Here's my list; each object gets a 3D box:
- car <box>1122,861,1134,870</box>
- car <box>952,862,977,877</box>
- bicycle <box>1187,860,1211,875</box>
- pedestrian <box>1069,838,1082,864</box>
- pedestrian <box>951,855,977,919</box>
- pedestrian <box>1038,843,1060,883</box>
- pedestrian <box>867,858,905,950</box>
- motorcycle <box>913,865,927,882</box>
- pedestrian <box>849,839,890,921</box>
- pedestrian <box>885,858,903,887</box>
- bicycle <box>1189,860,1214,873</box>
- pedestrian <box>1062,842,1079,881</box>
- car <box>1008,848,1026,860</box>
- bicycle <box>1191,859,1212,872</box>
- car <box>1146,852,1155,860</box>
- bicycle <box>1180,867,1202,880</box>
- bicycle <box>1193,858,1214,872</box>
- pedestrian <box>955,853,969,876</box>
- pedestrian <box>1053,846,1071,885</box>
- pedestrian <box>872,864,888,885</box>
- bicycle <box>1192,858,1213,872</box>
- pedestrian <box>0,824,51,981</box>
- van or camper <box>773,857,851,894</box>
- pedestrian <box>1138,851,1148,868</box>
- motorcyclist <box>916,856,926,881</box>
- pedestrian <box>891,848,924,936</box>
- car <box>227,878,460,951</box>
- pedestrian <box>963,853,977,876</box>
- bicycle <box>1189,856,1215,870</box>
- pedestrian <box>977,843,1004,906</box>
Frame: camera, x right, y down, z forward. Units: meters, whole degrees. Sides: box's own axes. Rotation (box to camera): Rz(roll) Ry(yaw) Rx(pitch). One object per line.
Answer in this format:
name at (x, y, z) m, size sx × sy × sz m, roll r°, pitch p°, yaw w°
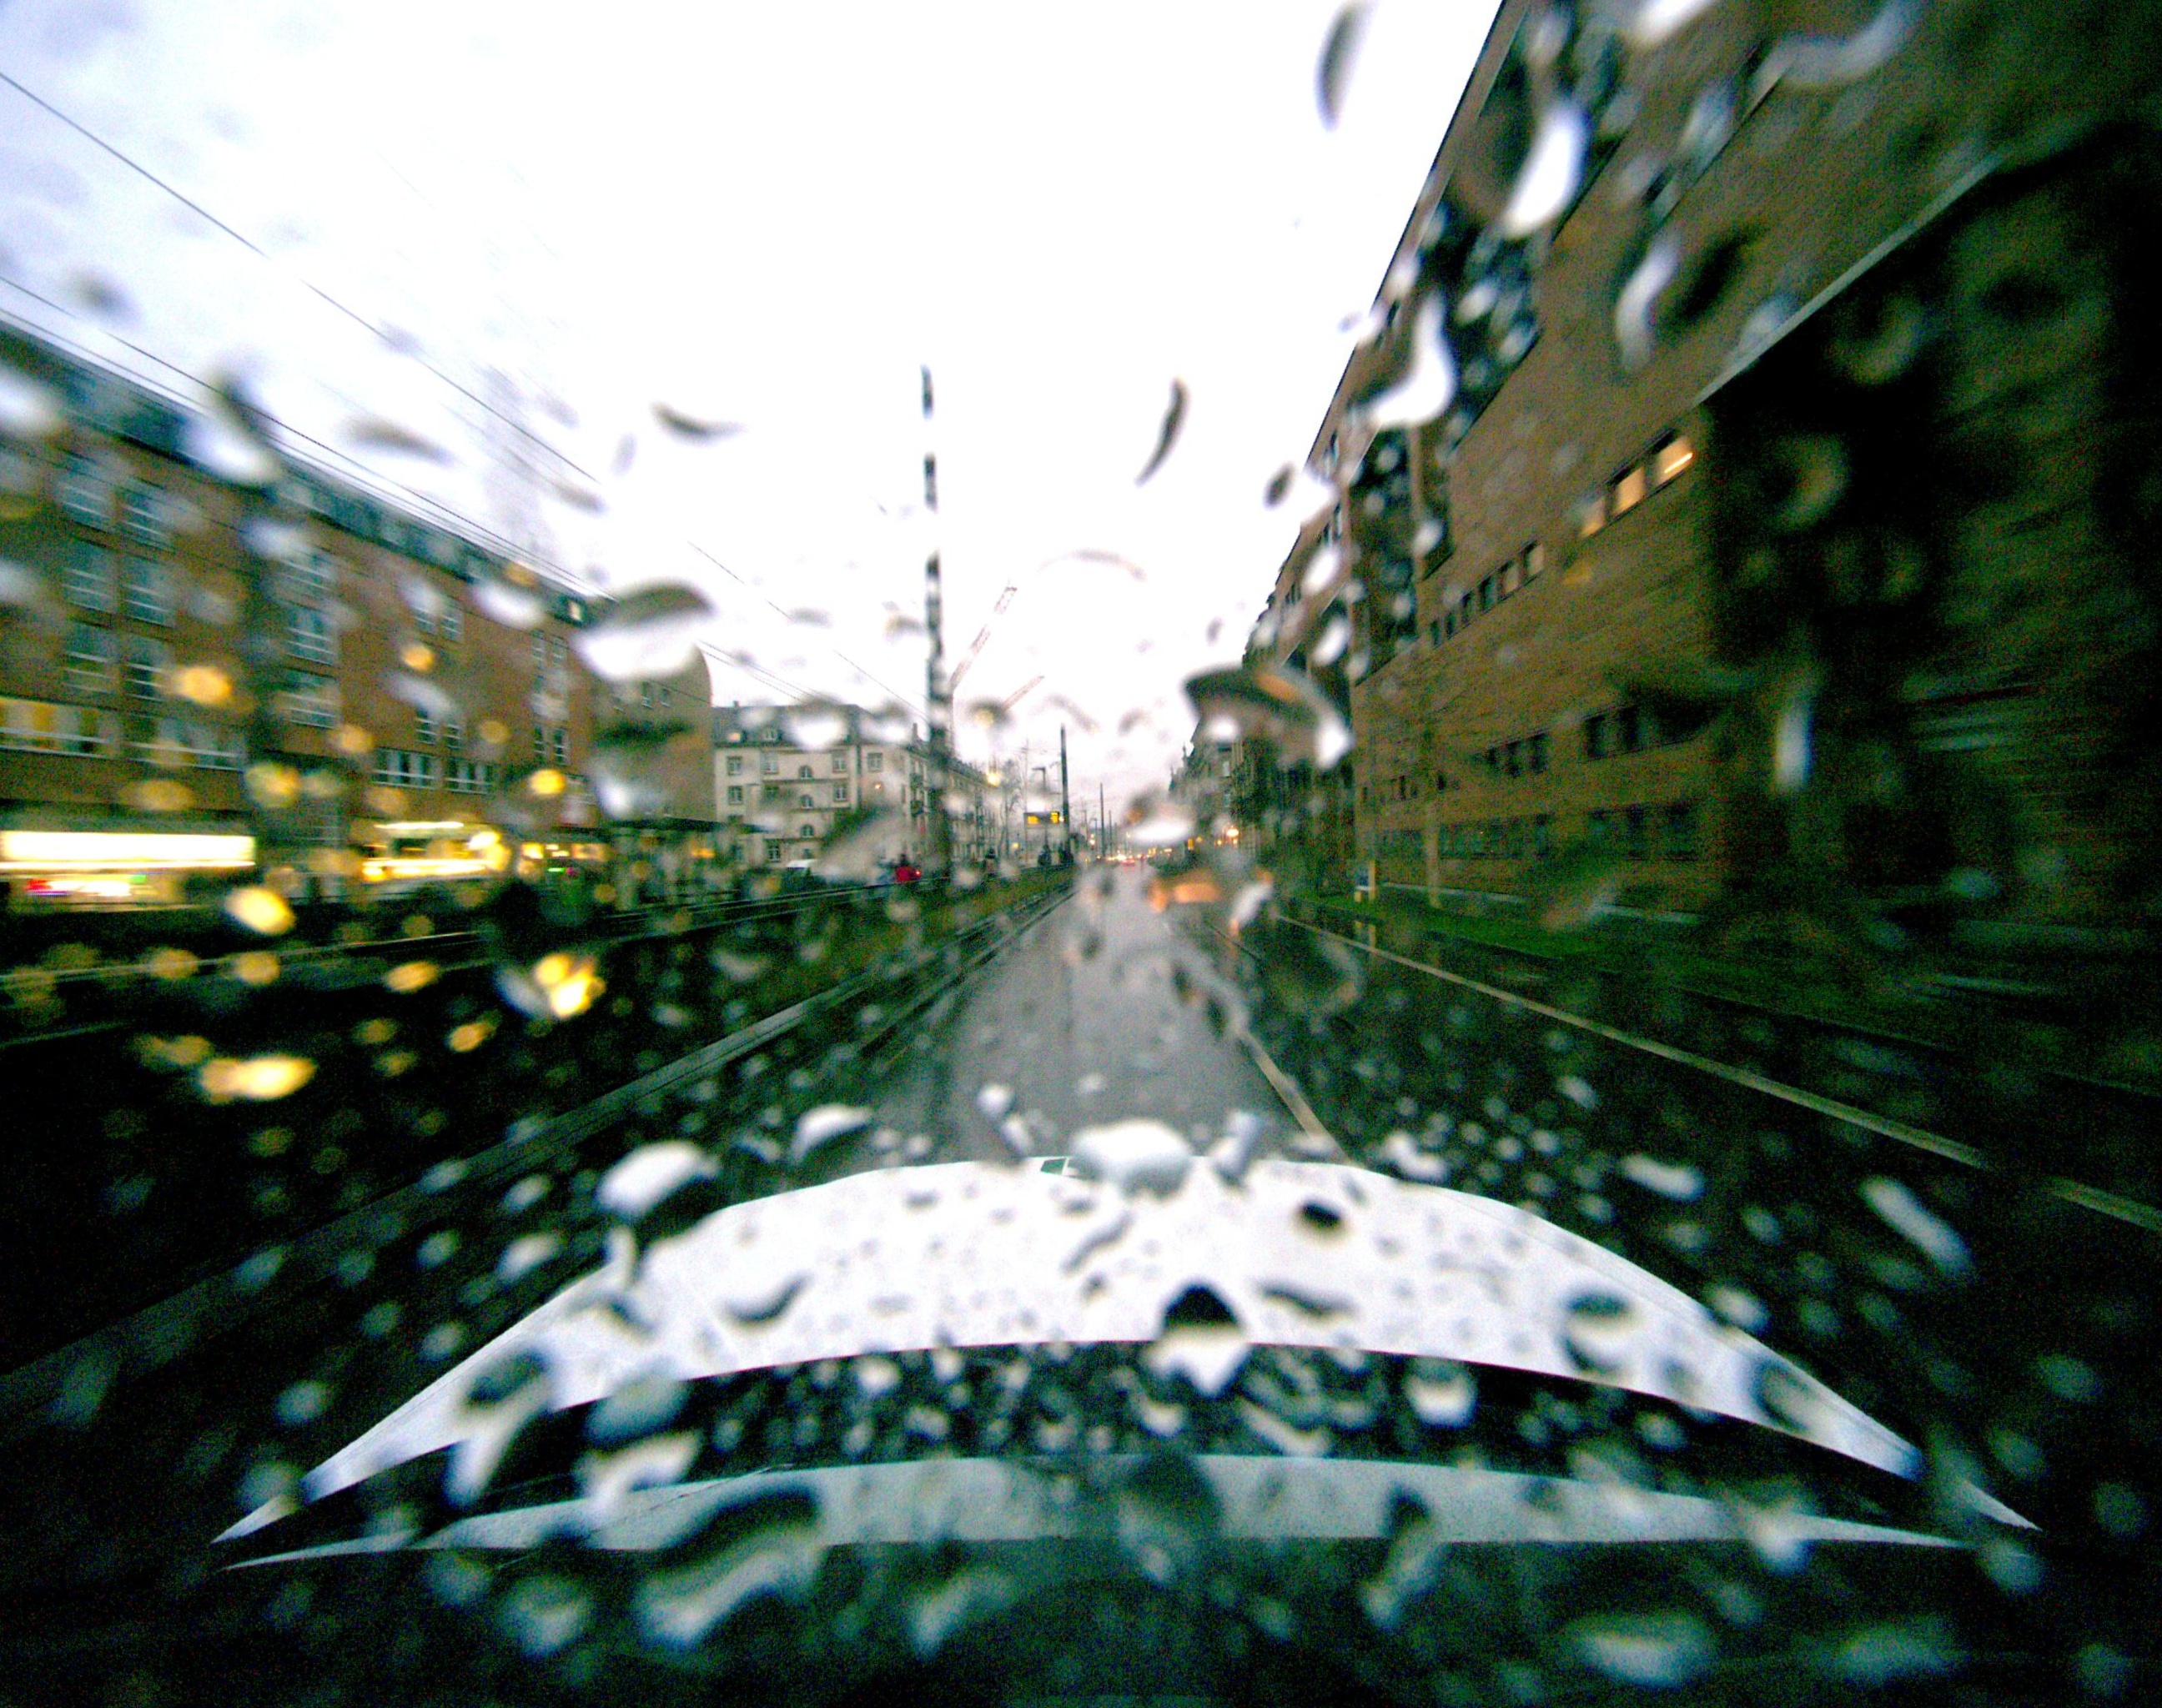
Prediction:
car at (7.593, 1.841, 132.659) m, size 1.775 × 1.467 × 3.153 m, roll -2°, pitch 0°, yaw 5°
car at (-10.905, 1.430, 76.184) m, size 1.675 × 1.354 × 3.548 m, roll -1°, pitch -1°, yaw 2°
bicycle at (10.467, 1.201, 72.218) m, size 2.000 × 1.095 × 0.425 m, roll -5°, pitch -1°, yaw 2°
pedestrian at (-0.334, -0.189, 47.829) m, size 0.679 × 1.516 × 0.617 m, roll -1°, pitch -1°, yaw -9°
pedestrian at (-3.163, 0.888, 22.052) m, size 0.538 × 1.692 × 0.643 m, roll -2°, pitch -1°, yaw 1°
pedestrian at (-1.399, 0.380, 35.365) m, size 0.777 × 1.704 × 0.769 m, roll -1°, pitch -1°, yaw -15°
pedestrian at (-3.461, 0.868, 14.492) m, size 0.479 × 1.590 × 0.563 m, roll -2°, pitch -1°, yaw 1°
motorcycle at (-9.786, 1.184, 49.635) m, size 0.511 × 1.008 × 1.806 m, roll -1°, pitch 0°, yaw 0°
pedestrian at (-4.223, 0.513, 16.277) m, size 0.616 × 1.590 × 0.622 m, roll -2°, pitch -1°, yaw 1°
pedestrian at (-10.076, 0.993, 43.894) m, size 0.639 × 1.524 × 0.748 m, roll 0°, pitch -1°, yaw -38°
bicycle at (10.950, 1.158, 74.062) m, size 2.136 × 1.055 × 0.485 m, roll -3°, pitch -1°, yaw 2°
pedestrian at (-0.598, 0.421, 45.478) m, size 0.806 × 2.110 × 0.805 m, roll -2°, pitch 0°, yaw 4°
car at (-7.766, 0.036, 99.067) m, size 1.675 × 1.354 × 3.548 m, roll -1°, pitch -1°, yaw 2°
bicycle at (10.512, 0.981, 71.168) m, size 1.723 × 1.055 × 0.371 m, roll -3°, pitch -1°, yaw 2°
car at (15.281, 0.480, 178.302) m, size 1.790 × 1.604 × 3.776 m, roll -3°, pitch 0°, yaw 6°
bicycle at (10.501, 1.877, 77.913) m, size 2.097 × 1.052 × 0.474 m, roll -3°, pitch -1°, yaw -23°
bicycle at (10.555, 0.944, 70.244) m, size 1.723 × 1.055 × 0.371 m, roll -3°, pitch -1°, yaw 2°
pedestrian at (-9.634, 0.848, 65.989) m, size 0.802 × 1.780 × 0.813 m, roll 0°, pitch -1°, yaw -38°
pedestrian at (-0.971, 0.570, 41.835) m, size 0.806 × 1.947 × 0.805 m, roll -2°, pitch 0°, yaw 4°
pedestrian at (-10.832, 1.086, 43.879) m, size 0.611 × 1.103 × 0.585 m, roll 0°, pitch -1°, yaw -37°
bicycle at (10.525, 0.949, 70.748) m, size 1.723 × 1.055 × 0.371 m, roll -3°, pitch -1°, yaw 2°
pedestrian at (-13.381, 0.592, 10.026) m, size 0.872 × 1.886 × 0.799 m, roll -2°, pitch -1°, yaw 42°
van or camper at (-20.944, 1.626, 63.860) m, size 2.755 × 2.682 × 6.774 m, roll -1°, pitch 0°, yaw 11°
pedestrian at (7.426, 0.676, 97.341) m, size 0.907 × 2.013 × 0.860 m, roll -2°, pitch -1°, yaw 22°
motorcyclist at (-9.755, 0.872, 49.604) m, size 0.497 × 1.496 × 0.556 m, roll -1°, pitch -1°, yaw -2°
pedestrian at (-3.412, 0.740, 16.062) m, size 0.479 × 1.678 × 0.563 m, roll -2°, pitch -1°, yaw 1°
car at (-16.089, 1.251, 18.036) m, size 1.812 × 1.354 × 3.548 m, roll -1°, pitch -1°, yaw 2°
pedestrian at (-8.735, 0.830, 64.097) m, size 0.802 × 1.780 × 0.813 m, roll 0°, pitch -1°, yaw -38°
bicycle at (10.911, 0.812, 73.463) m, size 2.135 × 1.055 × 0.425 m, roll -5°, pitch 1°, yaw 2°
pedestrian at (-2.507, 0.563, 22.584) m, size 0.647 × 1.704 × 0.565 m, roll -1°, pitch -1°, yaw -15°
